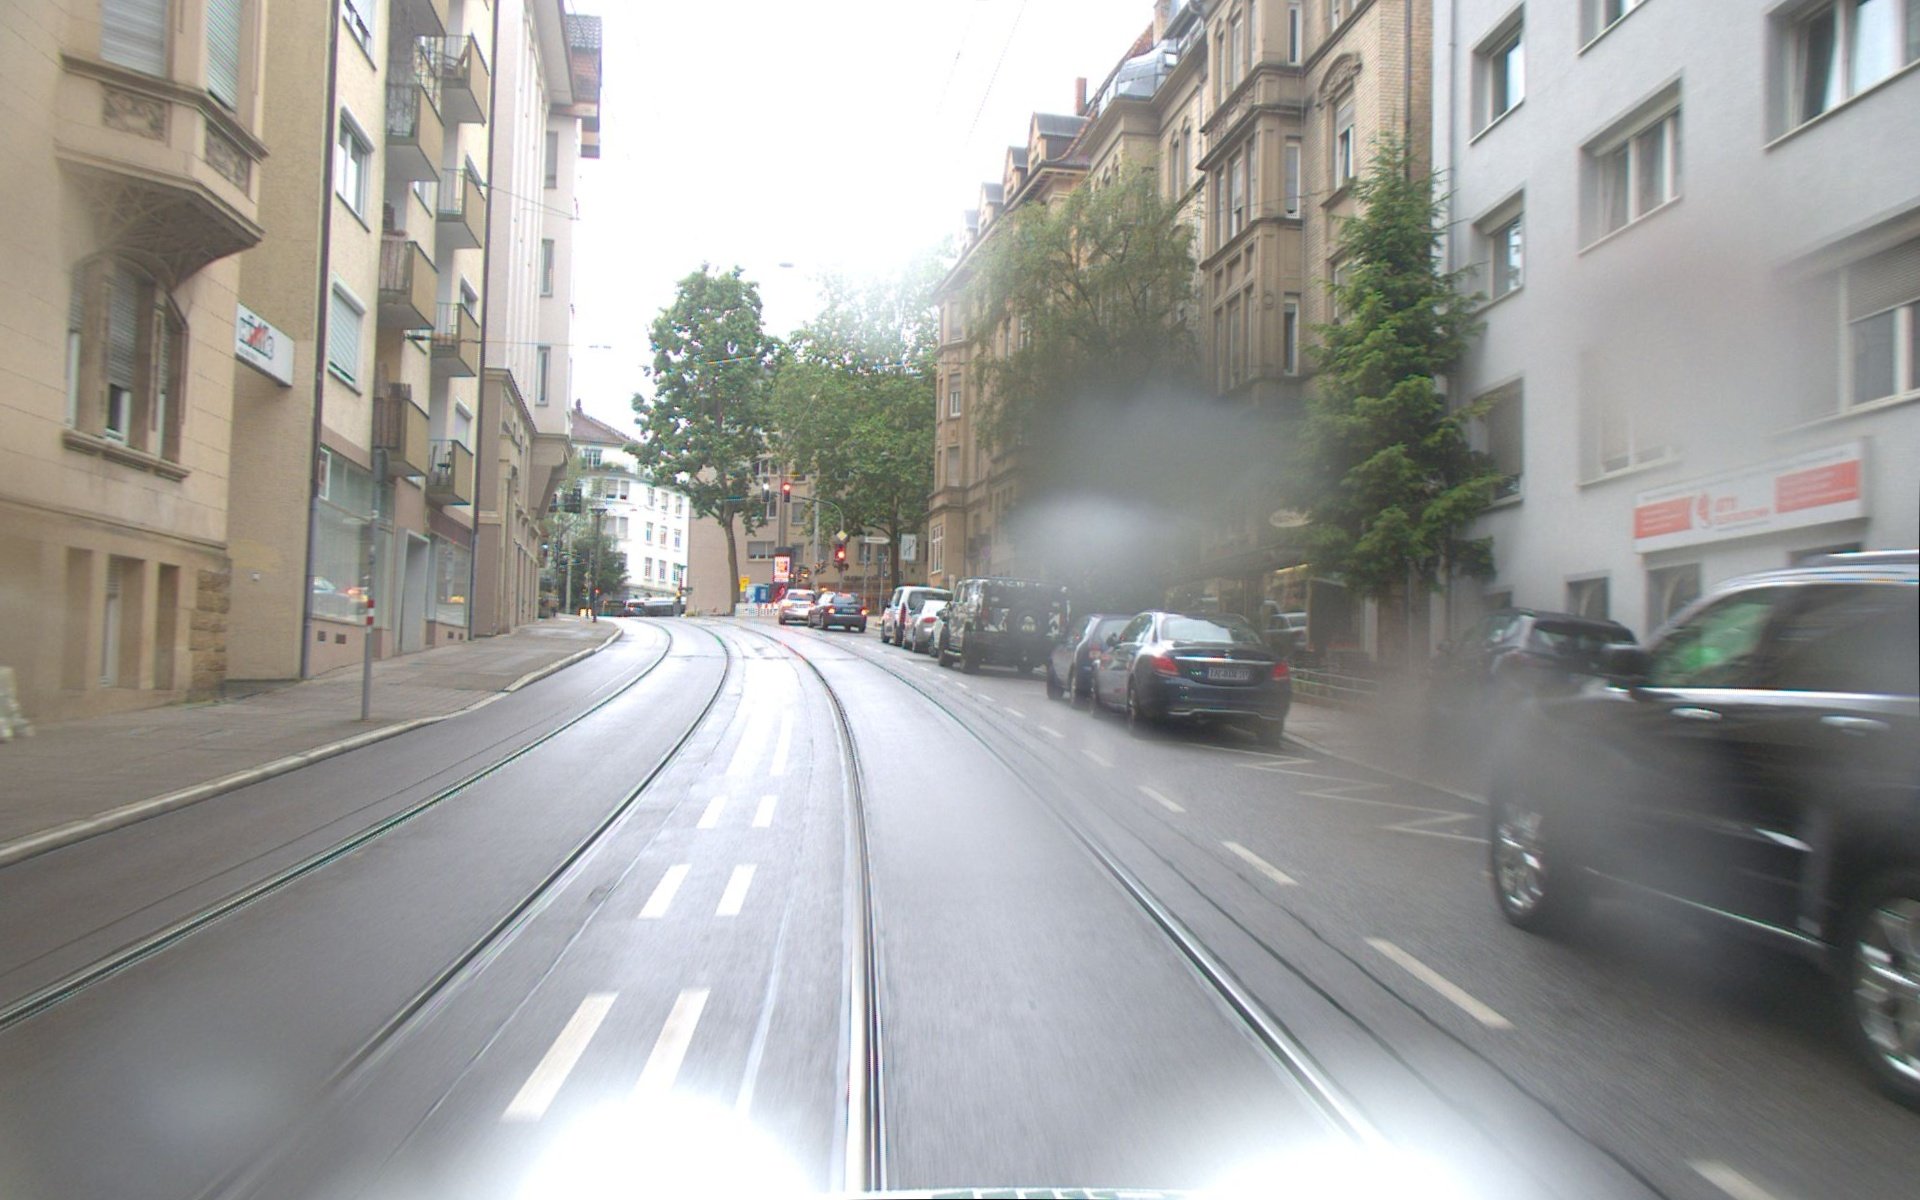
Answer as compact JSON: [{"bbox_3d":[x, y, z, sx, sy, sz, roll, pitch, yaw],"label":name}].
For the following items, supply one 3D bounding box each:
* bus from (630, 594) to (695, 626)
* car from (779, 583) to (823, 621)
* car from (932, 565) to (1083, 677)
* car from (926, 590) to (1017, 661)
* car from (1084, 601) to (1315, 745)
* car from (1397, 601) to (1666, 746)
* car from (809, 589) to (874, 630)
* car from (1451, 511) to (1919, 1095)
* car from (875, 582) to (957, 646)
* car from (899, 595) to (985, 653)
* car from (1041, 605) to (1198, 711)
[{"bbox_3d":[-28.114,0.926,156.568,2.793,2.911,8.740,1,0,13],"label":"bus"},{"bbox_3d":[-6.781,0.065,70.392,1.678,1.481,3.546,2,0,-8],"label":"car"},{"bbox_3d":[0.885,0.390,34.772,2.090,2.048,5.338,4,0,-10],"label":"car"},{"bbox_3d":[0.234,0.595,40.728,1.532,1.573,3.575,4,0,-10],"label":"car"},{"bbox_3d":[2.773,0.793,20.216,1.759,1.462,4.606,2,0,-5],"label":"car"},{"bbox_3d":[6.763,0.801,20.053,1.776,1.451,4.153,4,0,0],"label":"car"},{"bbox_3d":[-4.663,0.350,64.625,1.683,1.440,4.018,2,1,-17],"label":"car"},{"bbox_3d":[3.849,0.675,6.640,1.905,1.826,4.815,2,0,-5],"label":"car"},{"bbox_3d":[-1.399,0.393,50.784,1.765,1.796,4.452,4,0,-10],"label":"car"},{"bbox_3d":[-0.552,0.625,45.729,1.716,1.425,4.469,4,0,-8],"label":"car"},{"bbox_3d":[2.301,0.807,24.786,1.645,1.361,3.879,2,0,-5],"label":"car"}]
